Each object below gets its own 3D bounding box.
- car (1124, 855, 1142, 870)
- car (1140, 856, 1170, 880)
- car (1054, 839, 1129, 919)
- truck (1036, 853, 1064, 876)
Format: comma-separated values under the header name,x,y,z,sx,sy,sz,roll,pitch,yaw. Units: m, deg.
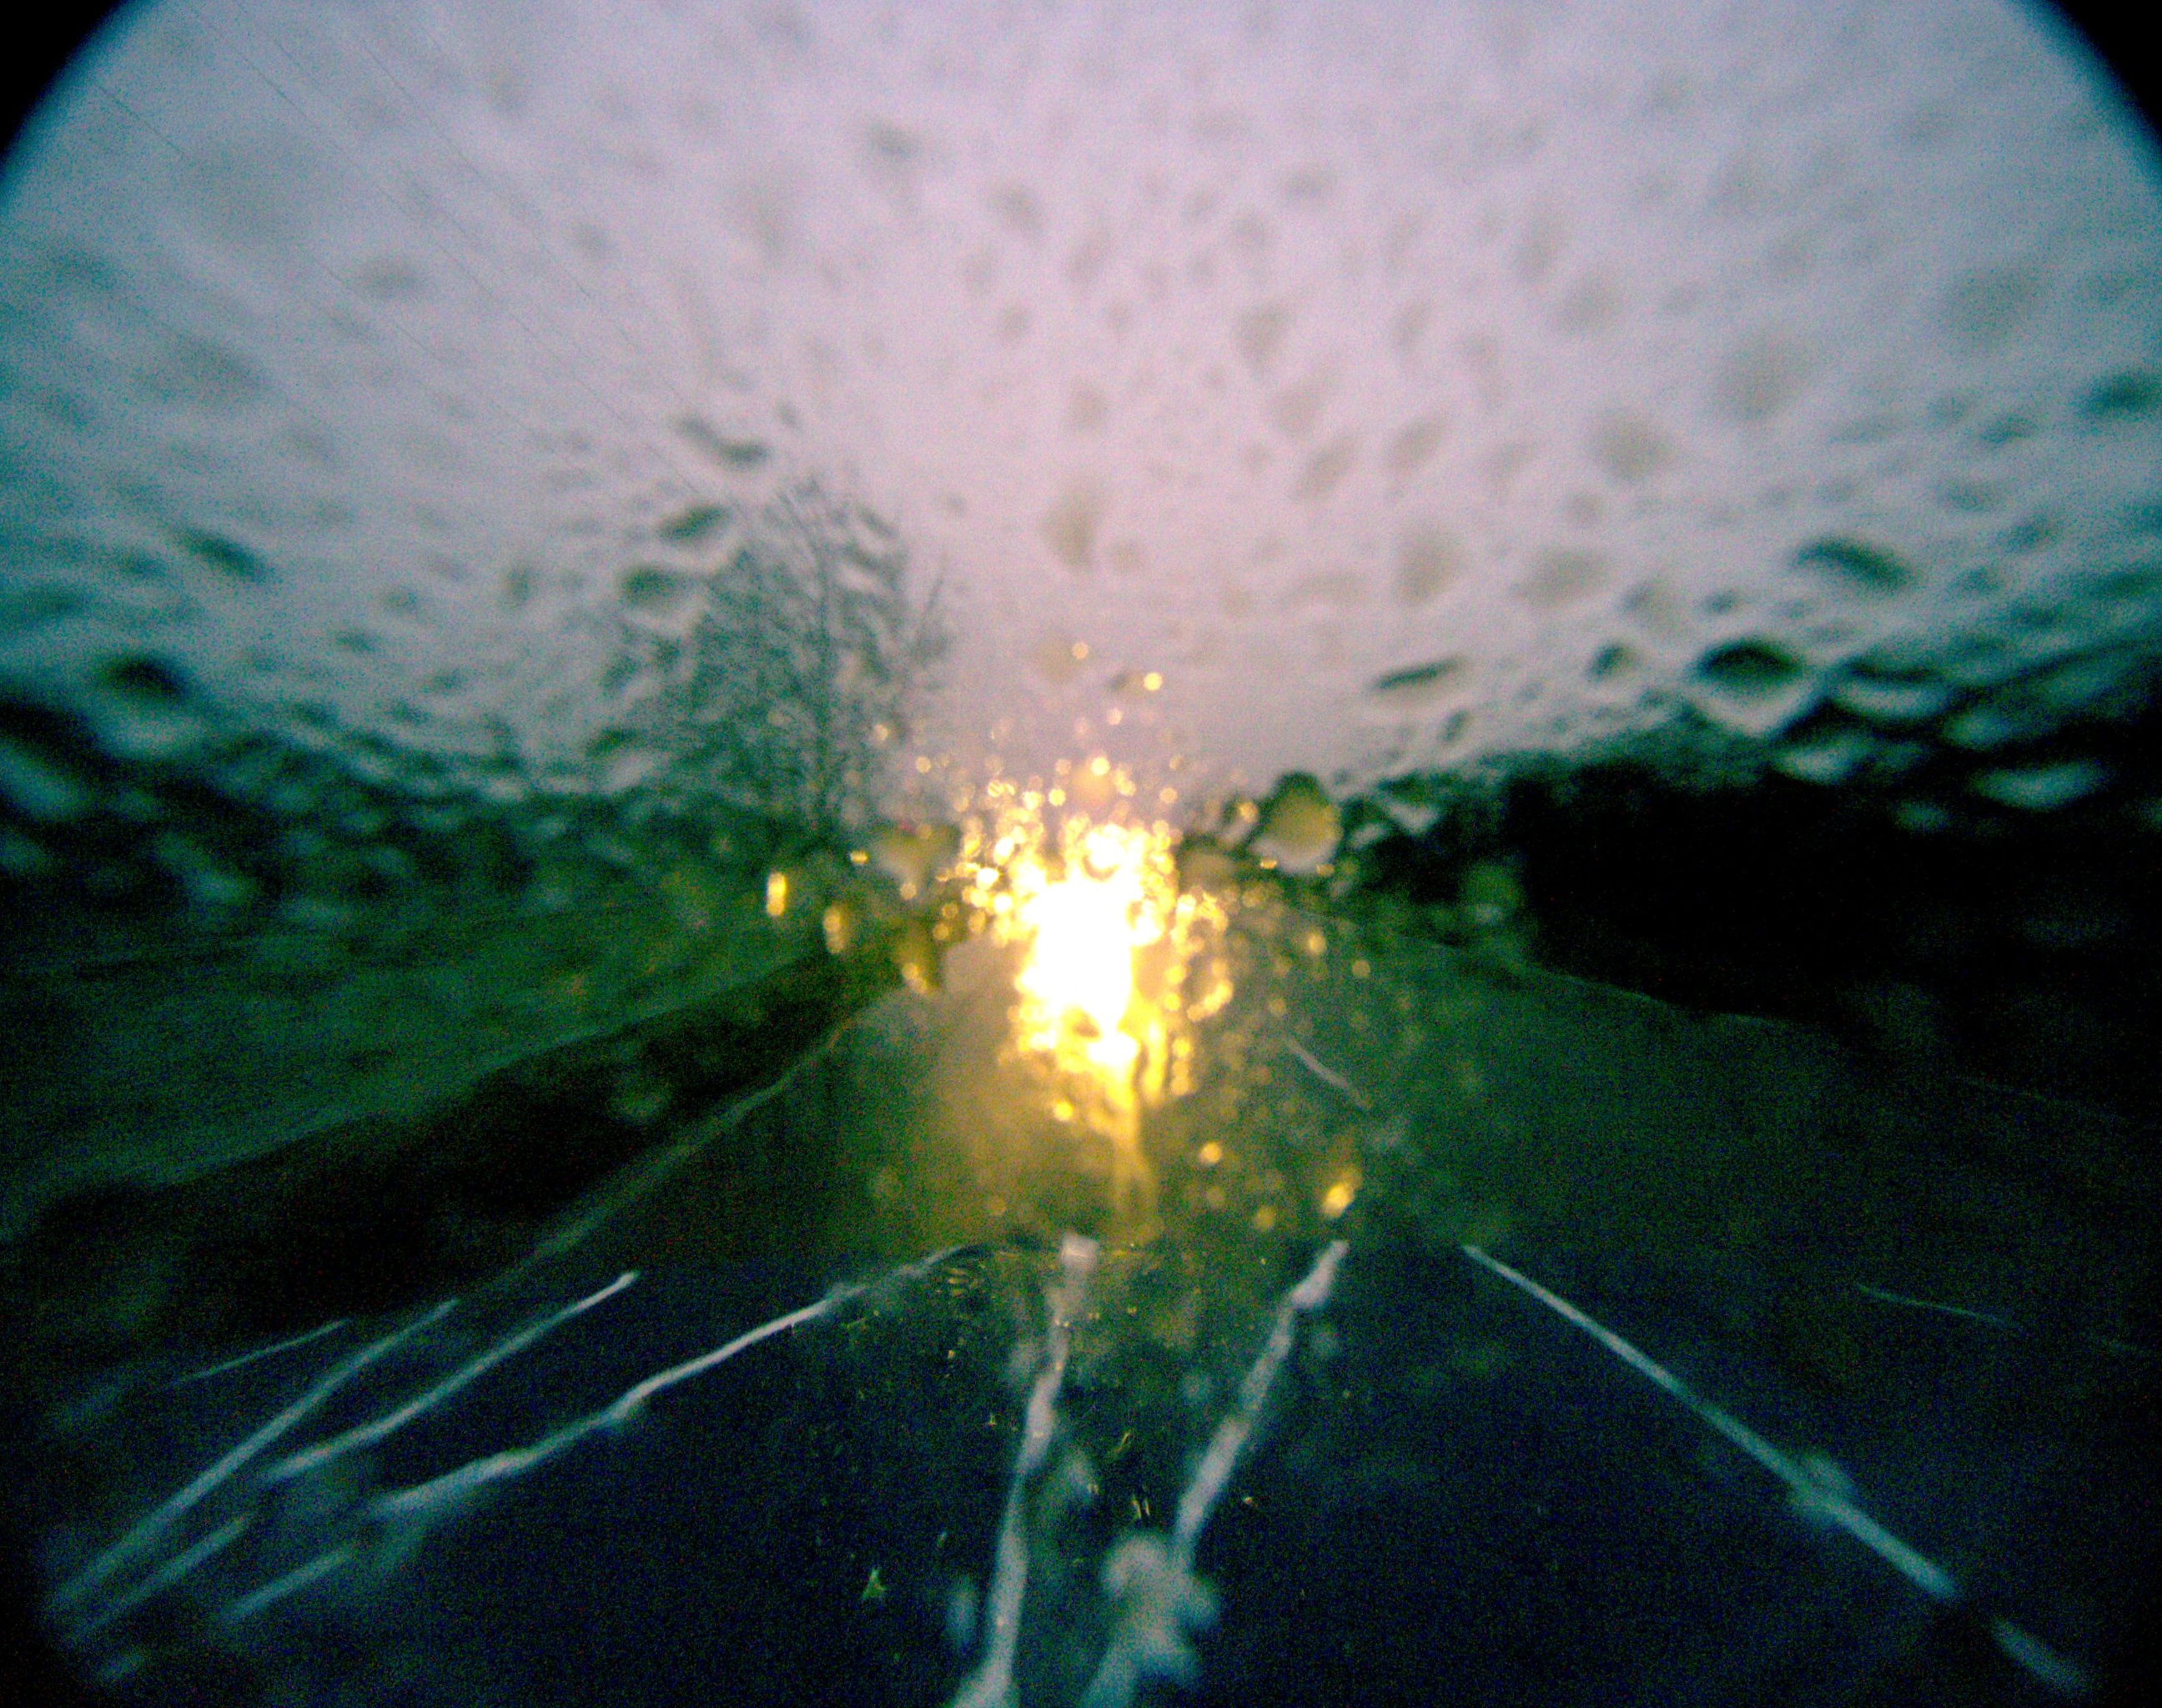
name,x,y,z,sx,sy,sz,roll,pitch,yaw
car,5.987,0.964,87.751,1.867,1.690,4.468,-2,0,2
car,4.908,0.895,50.781,1.659,1.477,3.669,-2,0,1
car,0.407,0.639,21.602,1.856,2.002,4.001,-2,0,4
truck,-3.725,1.162,93.242,2.509,2.556,10.806,-2,0,2
